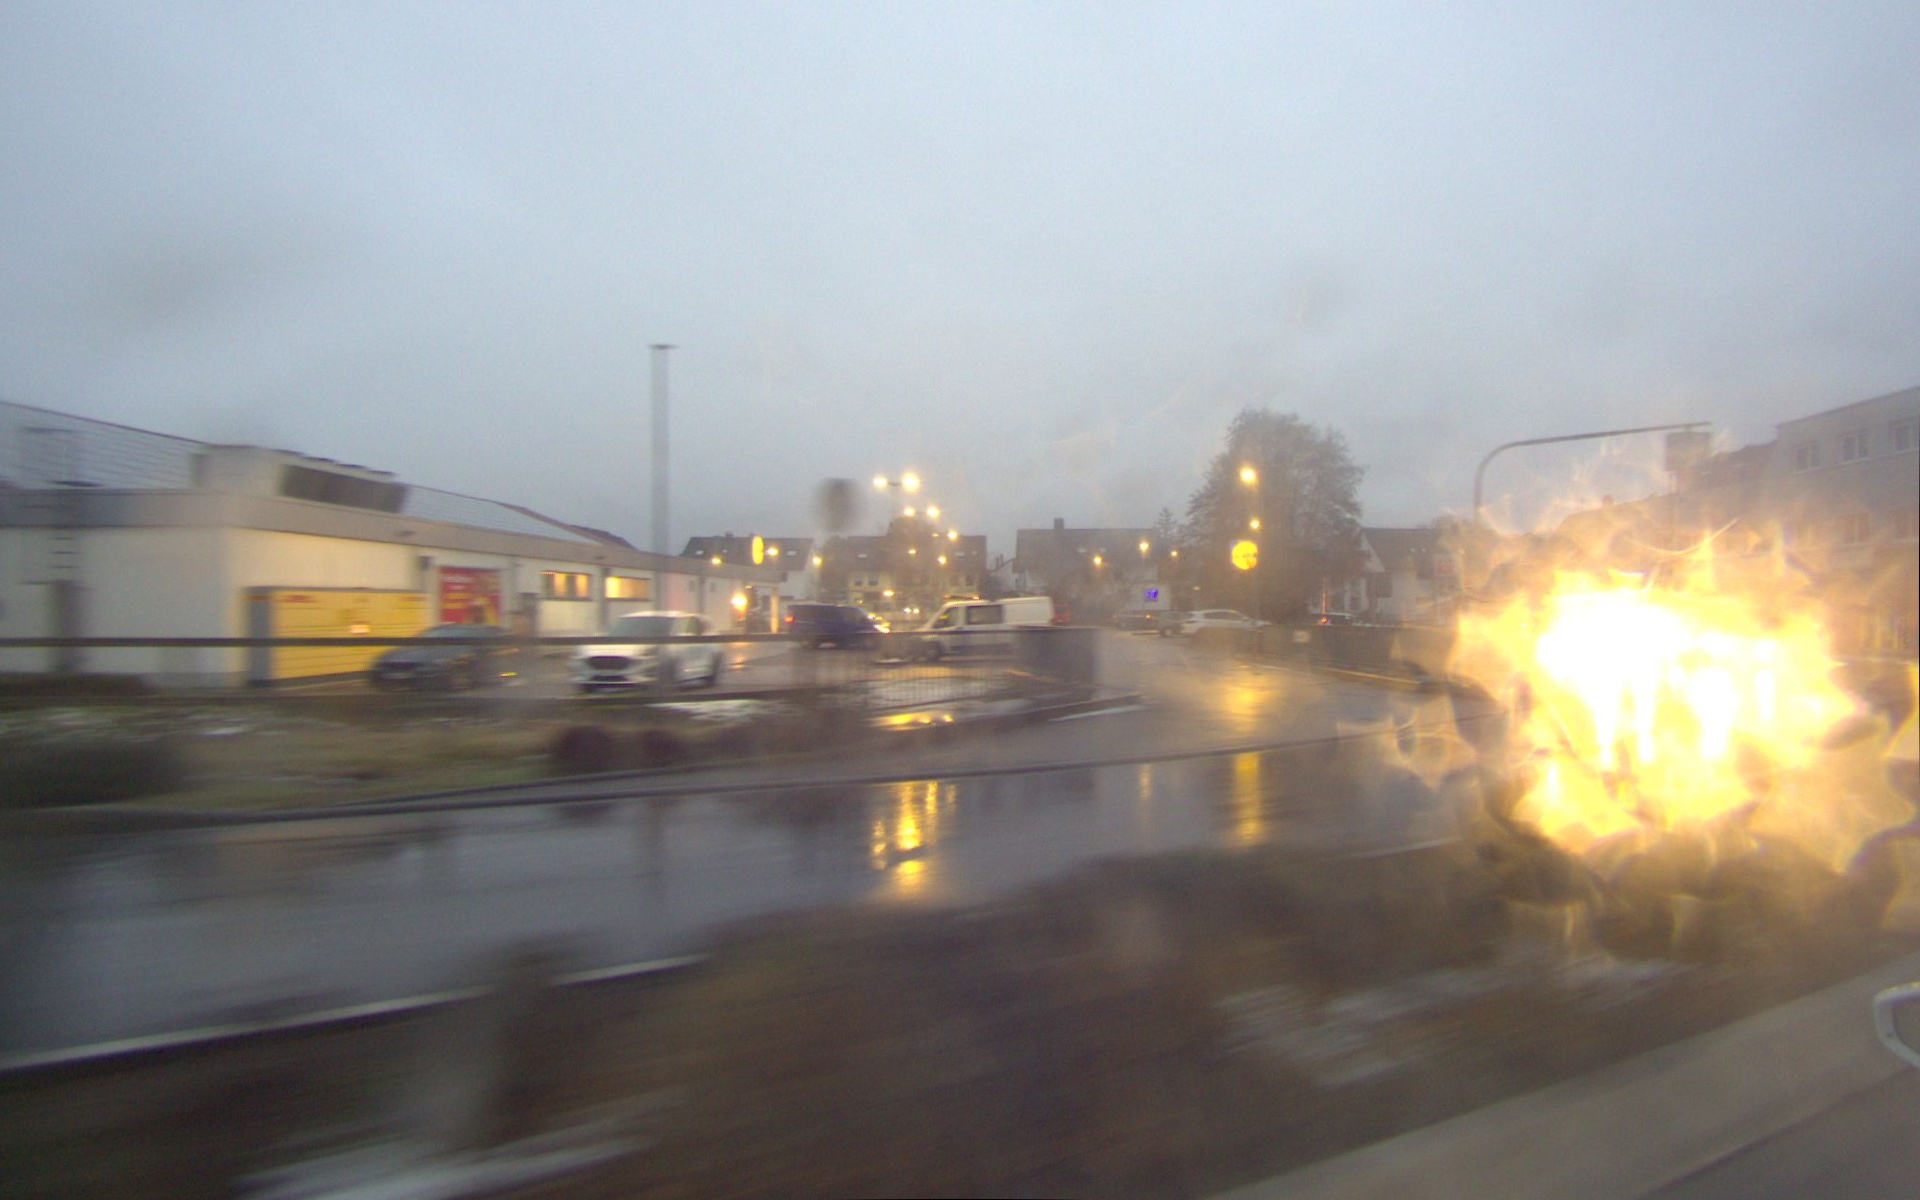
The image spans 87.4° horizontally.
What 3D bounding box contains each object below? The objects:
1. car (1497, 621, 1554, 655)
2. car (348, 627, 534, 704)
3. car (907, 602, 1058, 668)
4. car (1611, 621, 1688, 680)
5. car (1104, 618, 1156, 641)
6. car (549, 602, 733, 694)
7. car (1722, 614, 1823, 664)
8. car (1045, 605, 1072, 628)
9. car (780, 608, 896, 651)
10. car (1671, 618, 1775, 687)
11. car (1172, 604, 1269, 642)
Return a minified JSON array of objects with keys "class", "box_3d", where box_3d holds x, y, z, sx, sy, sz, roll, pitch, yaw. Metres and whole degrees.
[{"class":"car","box_3d":[34.427,2.275,61.262,2.028,1.858,4.572,0,0,17]},{"class":"car","box_3d":[-11.254,1.372,22.127,1.805,1.329,4.001,2,1,4]},{"class":"car","box_3d":[0.805,1.251,36.733,5.316,2.162,2.033,2,1,0]},{"class":"car","box_3d":[27.478,1.944,40.176,2.132,2.088,4.562,0,0,30]},{"class":"car","box_3d":[12.907,2.222,76.227,3.831,1.630,1.639,0,0,7]},{"class":"car","box_3d":[-6.426,0.895,20.823,2.023,1.582,4.283,2,1,7]},{"class":"car","box_3d":[31.762,1.460,39.408,2.031,1.740,4.567,0,0,25]},{"class":"car","box_3d":[9.070,1.472,92.777,1.673,1.942,3.996,1,1,-5]},{"class":"car","box_3d":[-5.580,1.333,46.189,4.950,1.688,1.797,2,1,6]},{"class":"car","box_3d":[25.825,1.699,34.158,2.131,2.088,4.564,0,0,28]},{"class":"car","box_3d":[12.498,1.105,48.335,4.268,1.771,1.707,0,0,5]}]
